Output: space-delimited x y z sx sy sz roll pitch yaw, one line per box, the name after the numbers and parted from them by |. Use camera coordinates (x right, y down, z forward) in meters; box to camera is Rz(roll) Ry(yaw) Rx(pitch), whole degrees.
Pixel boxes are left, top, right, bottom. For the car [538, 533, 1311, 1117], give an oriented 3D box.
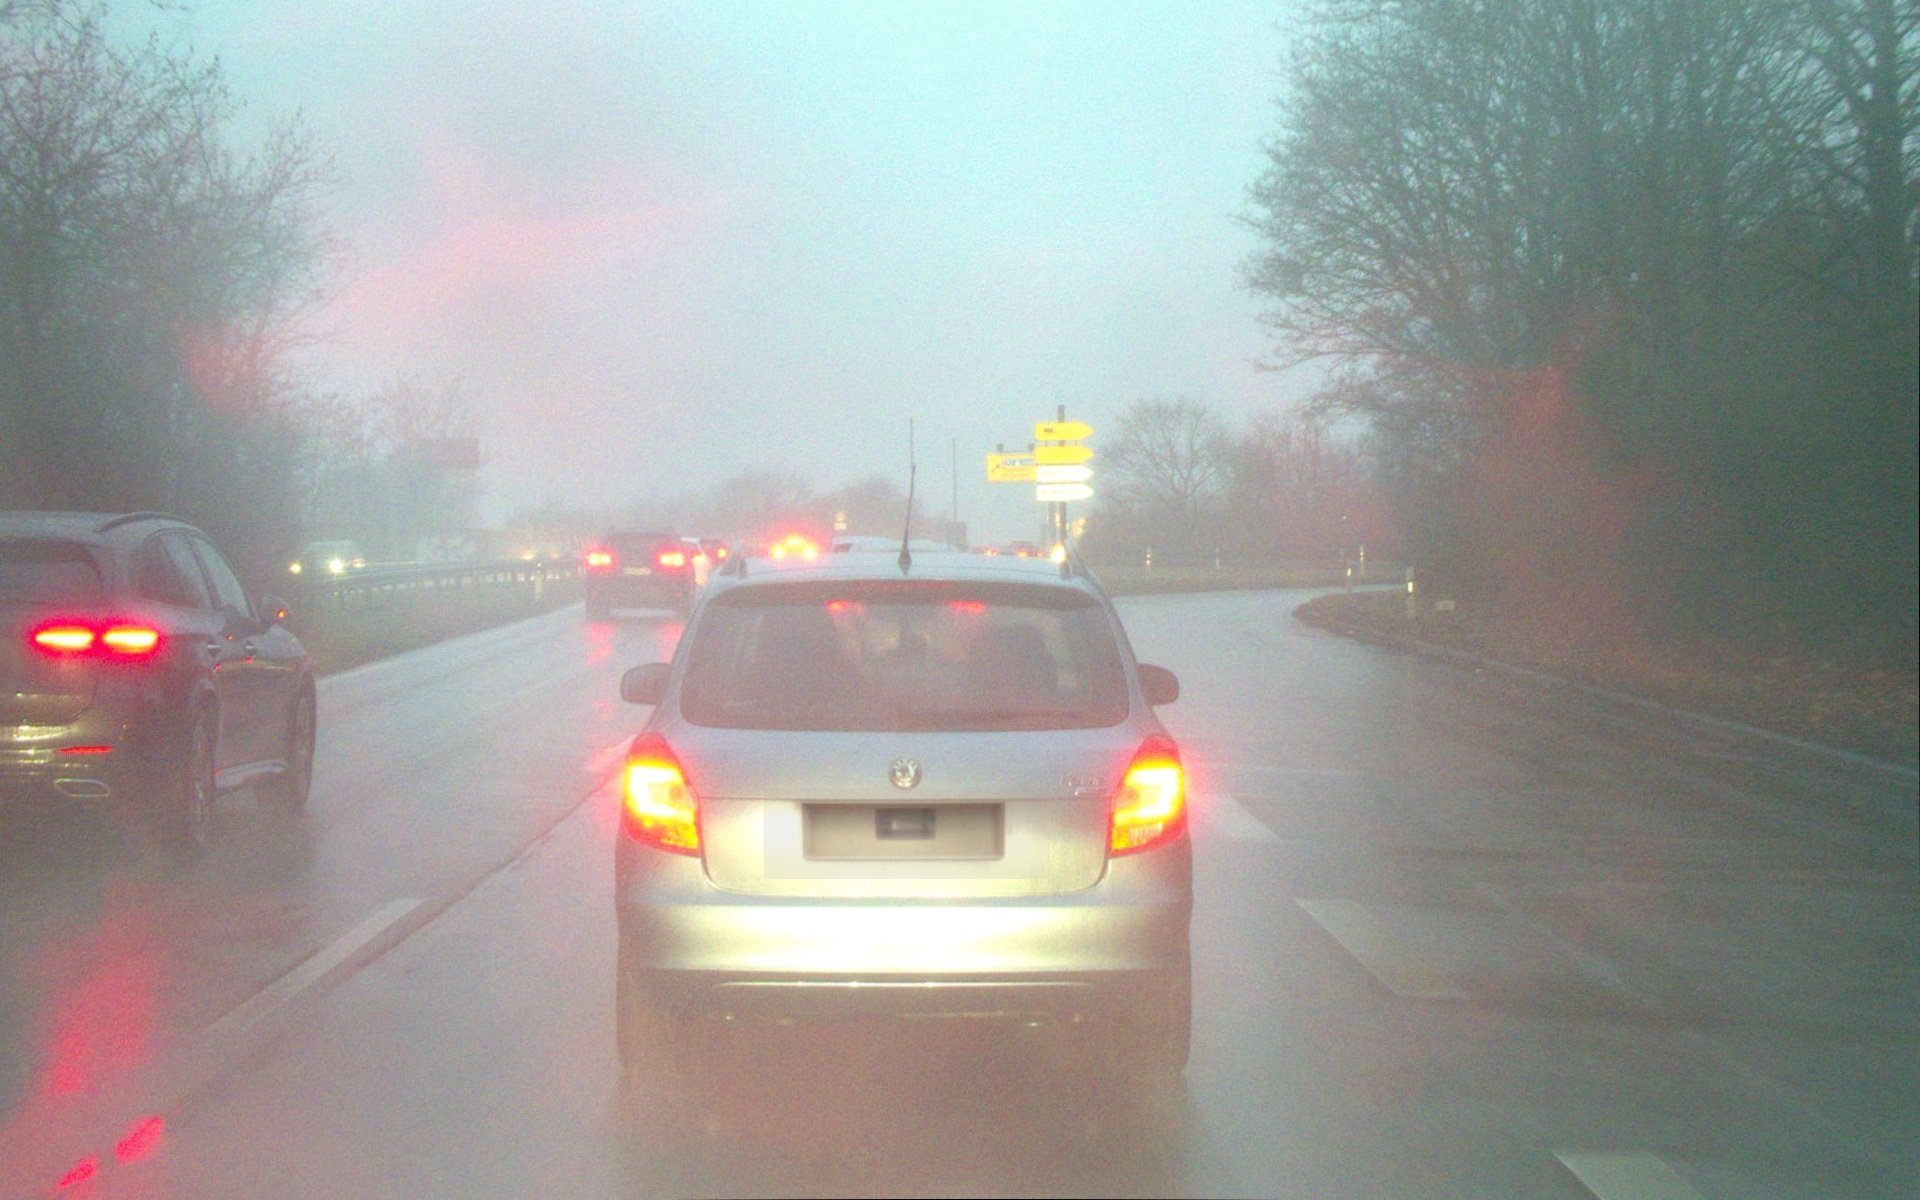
-0.098 0.569 10.987 1.993 1.495 4.138 -1 0 0 | car

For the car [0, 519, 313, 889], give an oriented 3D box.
-4.561 0.408 17.051 1.993 1.596 4.309 1 1 -2 | car

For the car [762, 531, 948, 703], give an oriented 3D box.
-1.080 0.137 37.372 1.897 1.761 4.309 0 1 0 | car

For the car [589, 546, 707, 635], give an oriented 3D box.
-5.591 -0.197 62.067 1.789 1.540 4.000 0 1 0 | car

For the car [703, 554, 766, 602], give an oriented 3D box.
-7.238 -0.714 110.567 1.789 1.478 4.000 -1 1 0 | car
